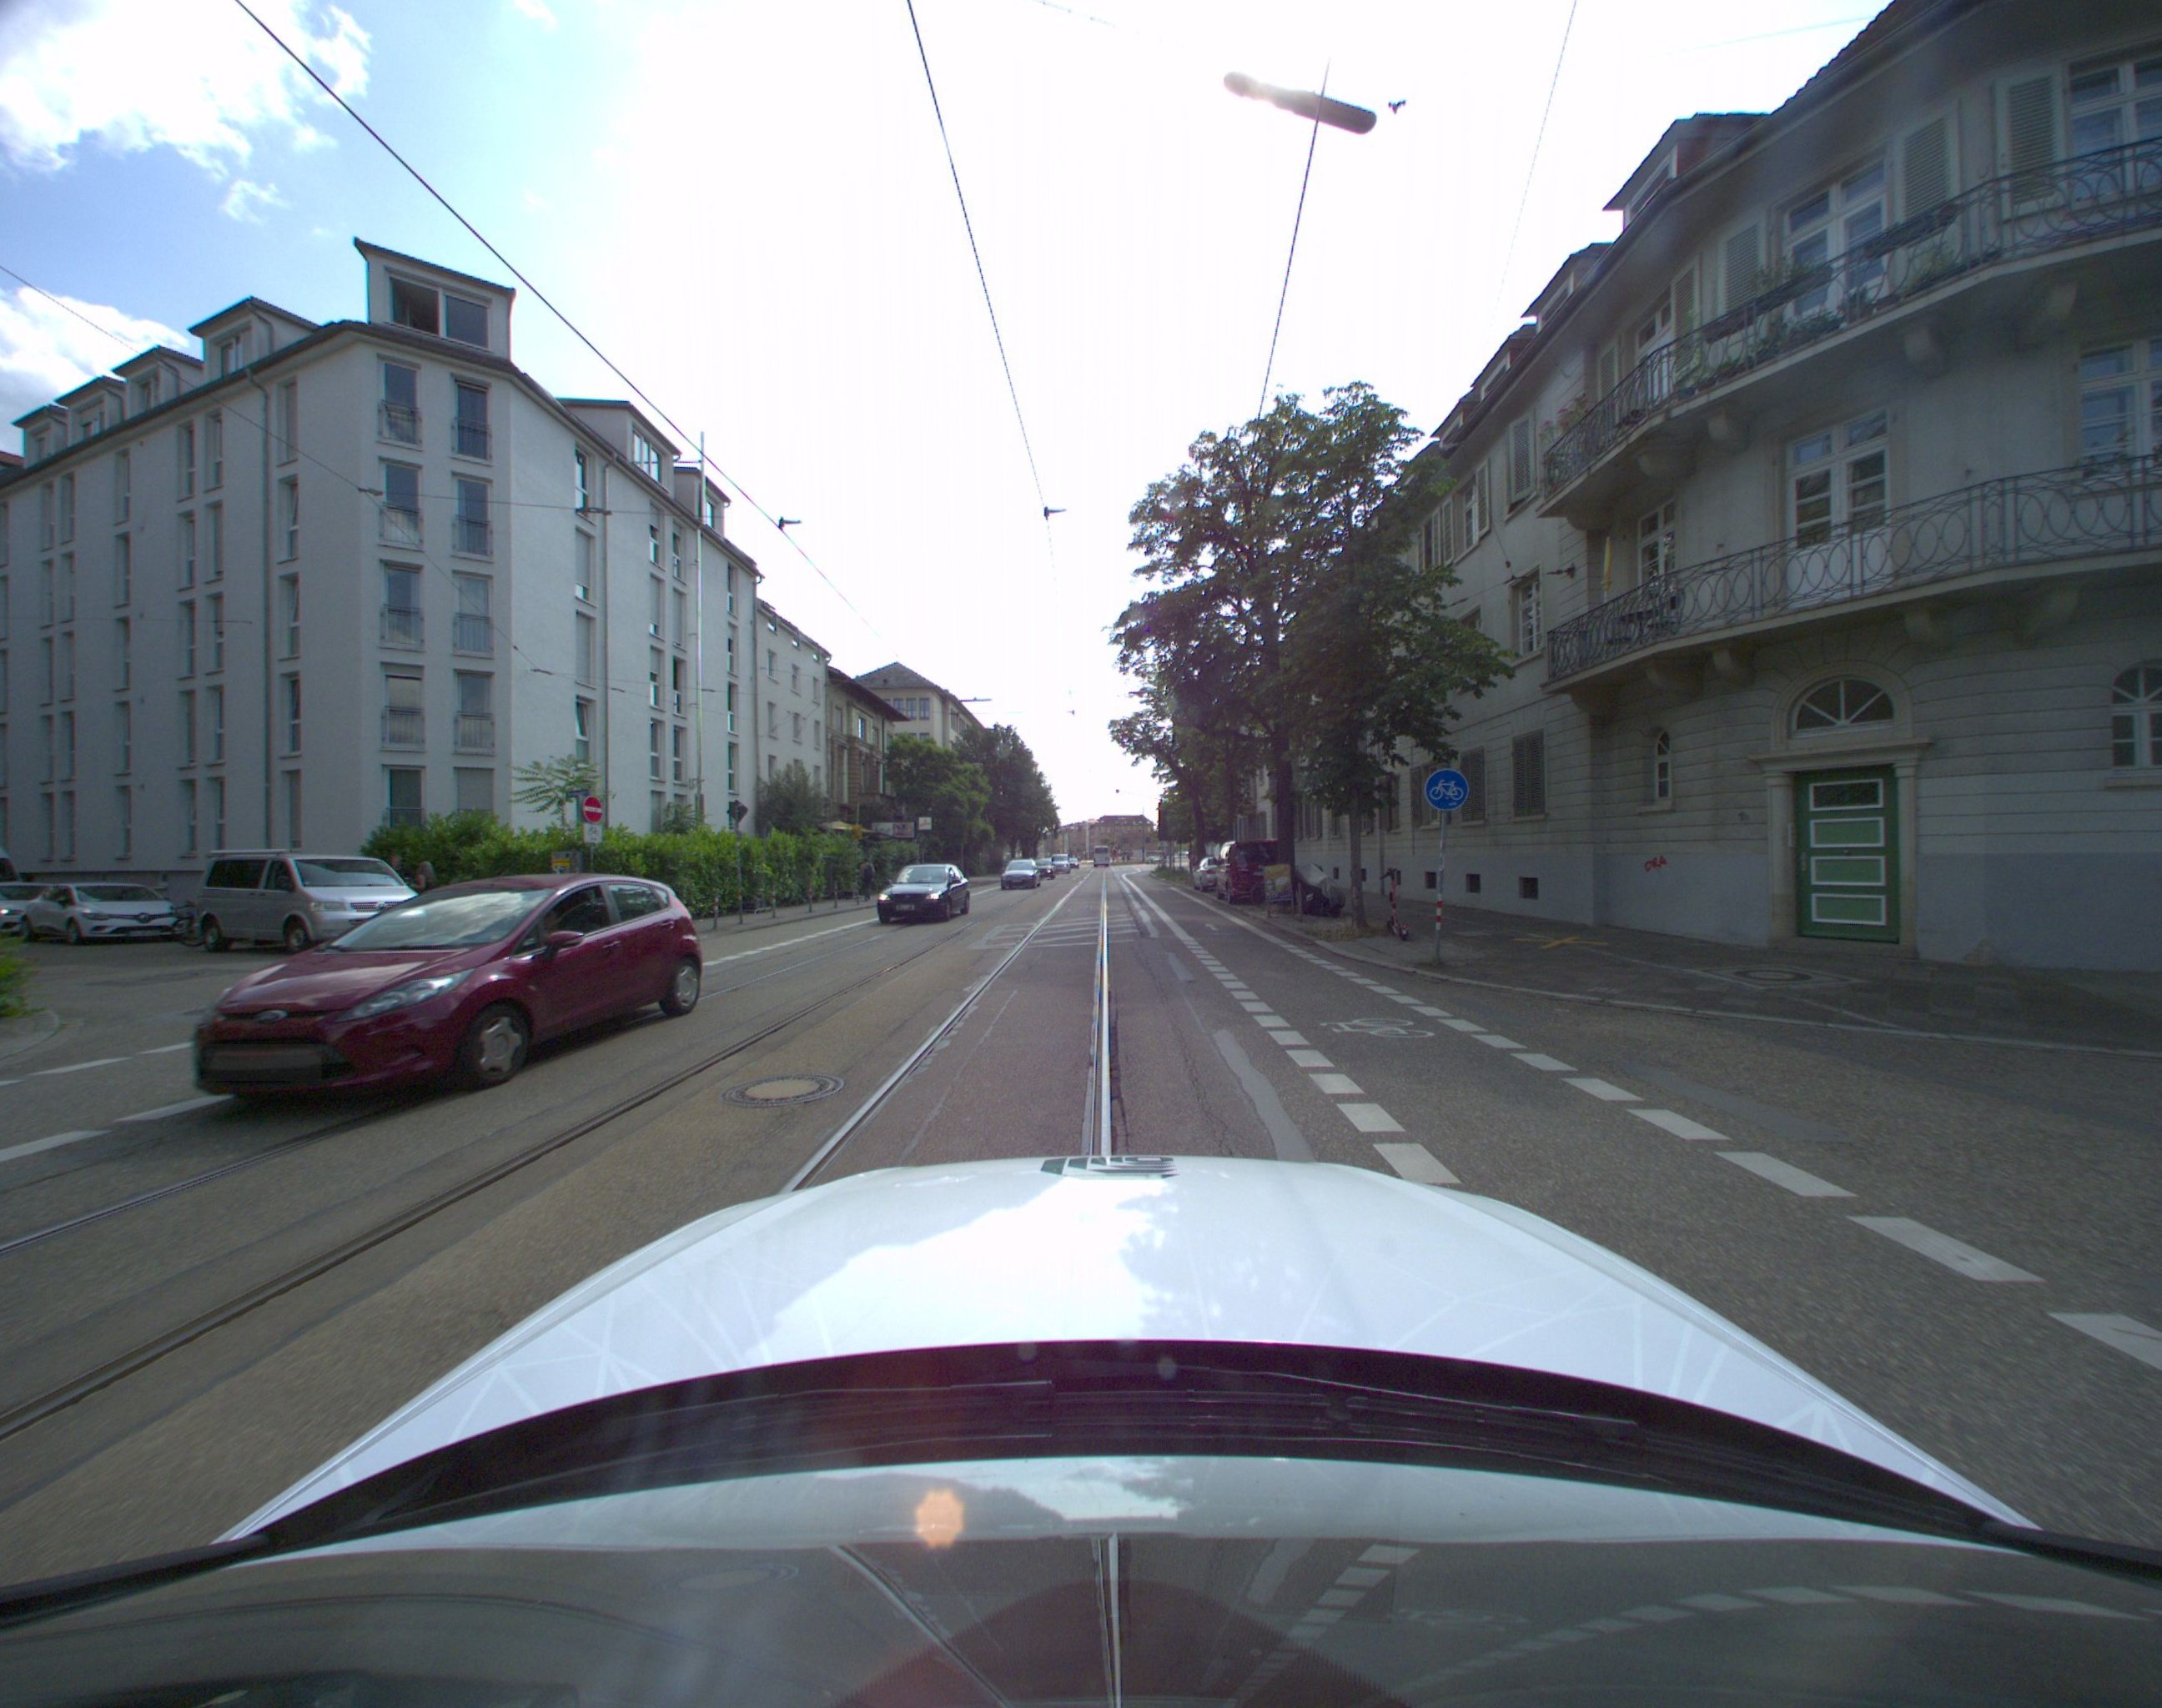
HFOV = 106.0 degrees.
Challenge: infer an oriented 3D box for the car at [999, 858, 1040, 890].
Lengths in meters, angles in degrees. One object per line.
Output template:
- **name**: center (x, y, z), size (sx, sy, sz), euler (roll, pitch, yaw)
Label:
- **car**: center (-3.165, 1.006, 42.641), size (1.721, 1.540, 4.277), euler (-2, 0, 1)

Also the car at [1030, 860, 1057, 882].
- **car**: center (-2.778, 1.259, 60.884), size (1.625, 1.556, 3.823), euler (-1, 0, 2)

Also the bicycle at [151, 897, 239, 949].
- **bicycle**: center (-19.835, 1.515, 18.226), size (2.007, 1.066, 0.789), euler (-1, -1, 26)

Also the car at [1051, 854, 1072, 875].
- **car**: center (-1.914, 1.009, 80.380), size (1.891, 1.907, 5.384), euler (-1, 0, 0)

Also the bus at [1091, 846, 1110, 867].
- **bus**: center (3.231, 0.468, 134.351), size (2.907, 3.328, 12.207), euler (0, -1, 1)

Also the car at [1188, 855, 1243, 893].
- **car**: center (5.760, 0.811, 35.325), size (1.700, 1.498, 4.790), euler (-1, 0, 1)

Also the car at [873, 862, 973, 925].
- **car**: center (-3.923, 0.923, 20.858), size (1.622, 1.407, 4.130), euler (0, 0, 2)

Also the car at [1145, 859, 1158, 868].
- **car**: center (13.592, 1.785, 156.580), size (2.118, 1.684, 4.112), euler (1, 1, 8)

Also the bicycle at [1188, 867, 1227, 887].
- **bicycle**: center (6.081, 1.106, 39.158), size (1.768, 0.903, 0.692), euler (-1, 0, 4)

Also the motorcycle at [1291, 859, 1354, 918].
- **motorcycle**: center (5.711, 0.776, 19.406), size (0.854, 1.321, 2.446), euler (-1, 0, 2)

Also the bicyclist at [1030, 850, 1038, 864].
- **bicyclist**: center (-5.383, 0.345, 93.796), size (0.596, 1.492, 0.883), euler (-6, 0, 4)

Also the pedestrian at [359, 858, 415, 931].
- **pedestrian**: center (-16.575, 0.962, 19.450), size (0.629, 1.698, 0.787), euler (-1, -1, 14)

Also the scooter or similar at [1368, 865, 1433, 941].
- **scooter or similar**: center (5.676, 0.838, 14.552), size (0.530, 1.251, 1.721), euler (-1, -1, 2)

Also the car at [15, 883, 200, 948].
- **car**: center (-23.995, 1.456, 20.075), size (3.953, 1.416, 1.667), euler (-1, 0, 20)

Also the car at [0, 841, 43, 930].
- **car**: center (-33.287, 0.927, 24.085), size (5.603, 2.508, 2.156), euler (-1, 0, 27)

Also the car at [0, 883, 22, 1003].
- **car**: center (-14.615, 1.054, 8.022), size (1.869, 1.364, 4.994), euler (-1, 0, 34)

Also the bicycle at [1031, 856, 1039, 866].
- **bicycle**: center (-5.319, 0.815, 93.852), size (0.600, 1.097, 2.025), euler (-6, 0, 4)

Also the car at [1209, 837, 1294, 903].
- **car**: center (5.524, 0.489, 26.993), size (1.888, 1.941, 4.952), euler (-1, 0, 1)

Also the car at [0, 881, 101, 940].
- **car**: center (-28.678, 1.469, 21.933), size (3.953, 1.416, 1.667), euler (-1, 0, 20)

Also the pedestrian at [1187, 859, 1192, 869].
- **pedestrian**: center (12.808, 1.197, 96.173), size (0.424, 1.200, 0.402), euler (-3, 1, -31)

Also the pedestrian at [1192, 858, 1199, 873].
- **pedestrian**: center (13.351, 1.336, 95.060), size (0.681, 1.724, 0.748), euler (-2, 1, 5)

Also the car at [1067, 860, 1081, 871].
- **car**: center (-0.885, 1.539, 109.620), size (1.682, 1.402, 3.931), euler (-2, 0, 1)

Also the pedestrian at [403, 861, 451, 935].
- **pedestrian**: center (-15.316, 1.017, 19.082), size (0.480, 1.698, 0.785), euler (-1, -1, 2)

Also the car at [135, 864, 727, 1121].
- **car**: center (-4.730, 0.848, 6.804), size (1.588, 1.440, 3.939), euler (-2, 0, 3)

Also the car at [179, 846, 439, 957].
- **car**: center (-15.754, 0.900, 16.619), size (4.886, 2.014, 2.061), euler (-1, 0, 23)

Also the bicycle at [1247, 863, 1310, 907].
- **bicycle**: center (5.570, 0.870, 23.009), size (1.605, 1.203, 0.589), euler (-1, -1, -2)

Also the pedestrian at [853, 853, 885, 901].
- **pedestrian**: center (-8.640, 0.941, 33.287), size (1.056, 1.917, 0.829), euler (-1, -1, 1)
